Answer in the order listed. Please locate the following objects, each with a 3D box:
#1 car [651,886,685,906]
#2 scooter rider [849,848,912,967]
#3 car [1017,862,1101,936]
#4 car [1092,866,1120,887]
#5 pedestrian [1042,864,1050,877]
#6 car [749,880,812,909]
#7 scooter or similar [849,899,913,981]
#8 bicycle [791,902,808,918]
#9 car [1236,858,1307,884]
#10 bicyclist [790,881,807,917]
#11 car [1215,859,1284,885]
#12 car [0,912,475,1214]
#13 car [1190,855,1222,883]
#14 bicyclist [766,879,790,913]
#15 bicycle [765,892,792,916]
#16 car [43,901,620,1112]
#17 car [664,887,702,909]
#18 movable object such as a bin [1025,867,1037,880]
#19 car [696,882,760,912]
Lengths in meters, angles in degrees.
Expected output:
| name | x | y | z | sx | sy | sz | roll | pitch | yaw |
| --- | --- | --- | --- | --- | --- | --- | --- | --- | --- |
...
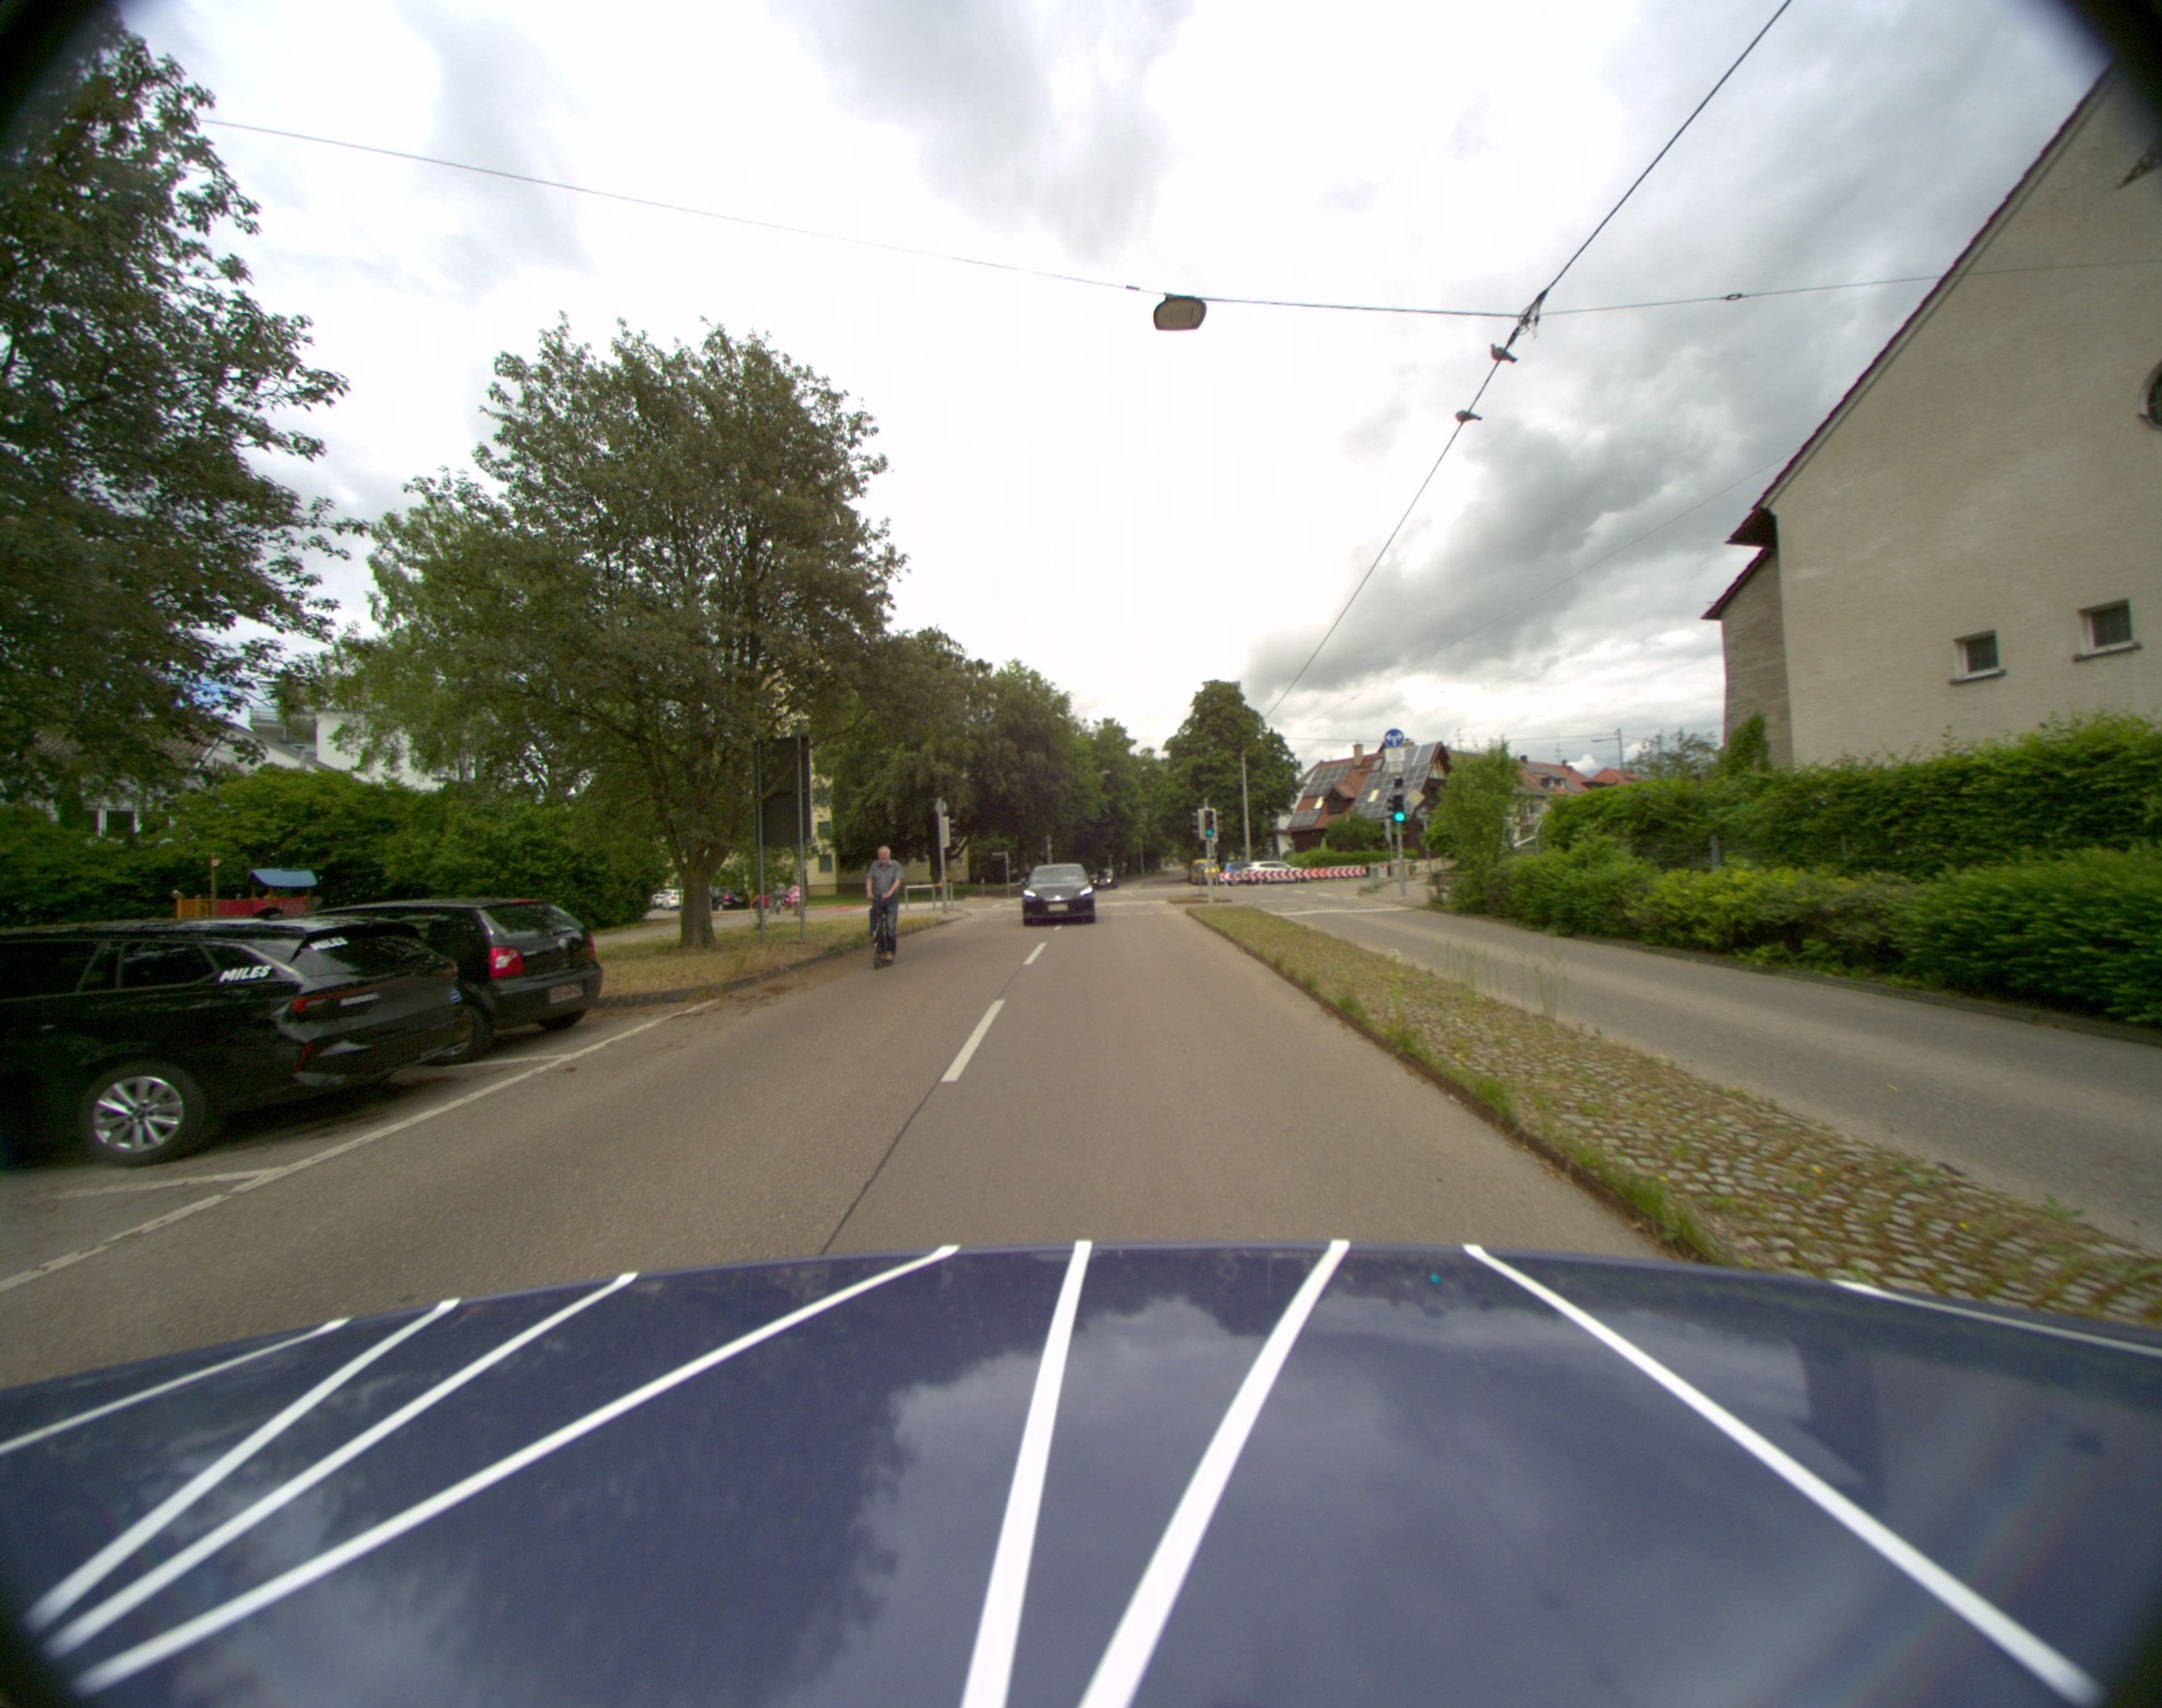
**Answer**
| name | x | y | z | sx | sy | sz | roll | pitch | yaw |
| --- | --- | --- | --- | --- | --- | --- | --- | --- | --- |
| car | -31.795 | 3.208 | 58.411 | 1.798 | 1.346 | 4.062 | -1 | -1 | -36 |
| scooter rider | -3.107 | 0.816 | 11.859 | 0.683 | 1.719 | 1.196 | -3 | -2 | -5 |
| car | -0.453 | 1.040 | 19.372 | 1.803 | 1.541 | 4.299 | -2 | 0 | 2 |
| car | 2.019 | 1.768 | 60.685 | 1.998 | 1.585 | 4.002 | -2 | -1 | 4 |
| pedestrian | -3.735 | 1.827 | 82.143 | 0.688 | 1.373 | 0.606 | -2 | 0 | 9 |
| car | -17.572 | 2.370 | 44.521 | 2.916 | 1.497 | 1.698 | -4 | -2 | 15 |
| scooter or similar | -3.085 | 1.297 | 11.821 | 0.683 | 1.132 | 1.459 | -3 | -2 | -5 |
| bicycle | -9.510 | 1.898 | 25.622 | 0.520 | 0.494 | 0.987 | 0 | -5 | -21 |
| car | 12.118 | 1.107 | 48.421 | 3.905 | 1.463 | 1.845 | -2 | -2 | -9 |
| bicyclist | -9.534 | 1.522 | 25.647 | 0.520 | 1.179 | 0.966 | 0 | -5 | -21 |
| car | 11.214 | 1.243 | 50.777 | 4.176 | 1.537 | 1.846 | -2 | -2 | -1 |
| car | -6.735 | 1.296 | 4.854 | 4.149 | 1.467 | 1.575 | -3 | 0 | -11 |
| car | 9.622 | 1.152 | 58.771 | 1.921 | 1.977 | 4.802 | -2 | -1 | 4 |
| bicyclist | -10.765 | 1.466 | 27.006 | 0.642 | 1.155 | 0.802 | -2 | 0 | -30 |
| bicycle | -10.732 | 1.769 | 26.965 | 0.642 | 0.754 | 1.677 | -2 | 0 | -29 |
| car | -6.754 | 1.317 | 7.187 | 3.726 | 1.467 | 1.576 | -3 | -1 | -3 |
| car | -28.056 | 3.042 | 53.465 | 1.798 | 1.425 | 4.062 | -1 | -1 | -36 |
| movable object such as a bin | -6.142 | 2.408 | 93.358 | 1.277 | 1.632 | 1.021 | -1 | 1 | 6 |
| car | -21.675 | 2.663 | 46.640 | 3.816 | 1.581 | 1.822 | -4 | -1 | 35 |
